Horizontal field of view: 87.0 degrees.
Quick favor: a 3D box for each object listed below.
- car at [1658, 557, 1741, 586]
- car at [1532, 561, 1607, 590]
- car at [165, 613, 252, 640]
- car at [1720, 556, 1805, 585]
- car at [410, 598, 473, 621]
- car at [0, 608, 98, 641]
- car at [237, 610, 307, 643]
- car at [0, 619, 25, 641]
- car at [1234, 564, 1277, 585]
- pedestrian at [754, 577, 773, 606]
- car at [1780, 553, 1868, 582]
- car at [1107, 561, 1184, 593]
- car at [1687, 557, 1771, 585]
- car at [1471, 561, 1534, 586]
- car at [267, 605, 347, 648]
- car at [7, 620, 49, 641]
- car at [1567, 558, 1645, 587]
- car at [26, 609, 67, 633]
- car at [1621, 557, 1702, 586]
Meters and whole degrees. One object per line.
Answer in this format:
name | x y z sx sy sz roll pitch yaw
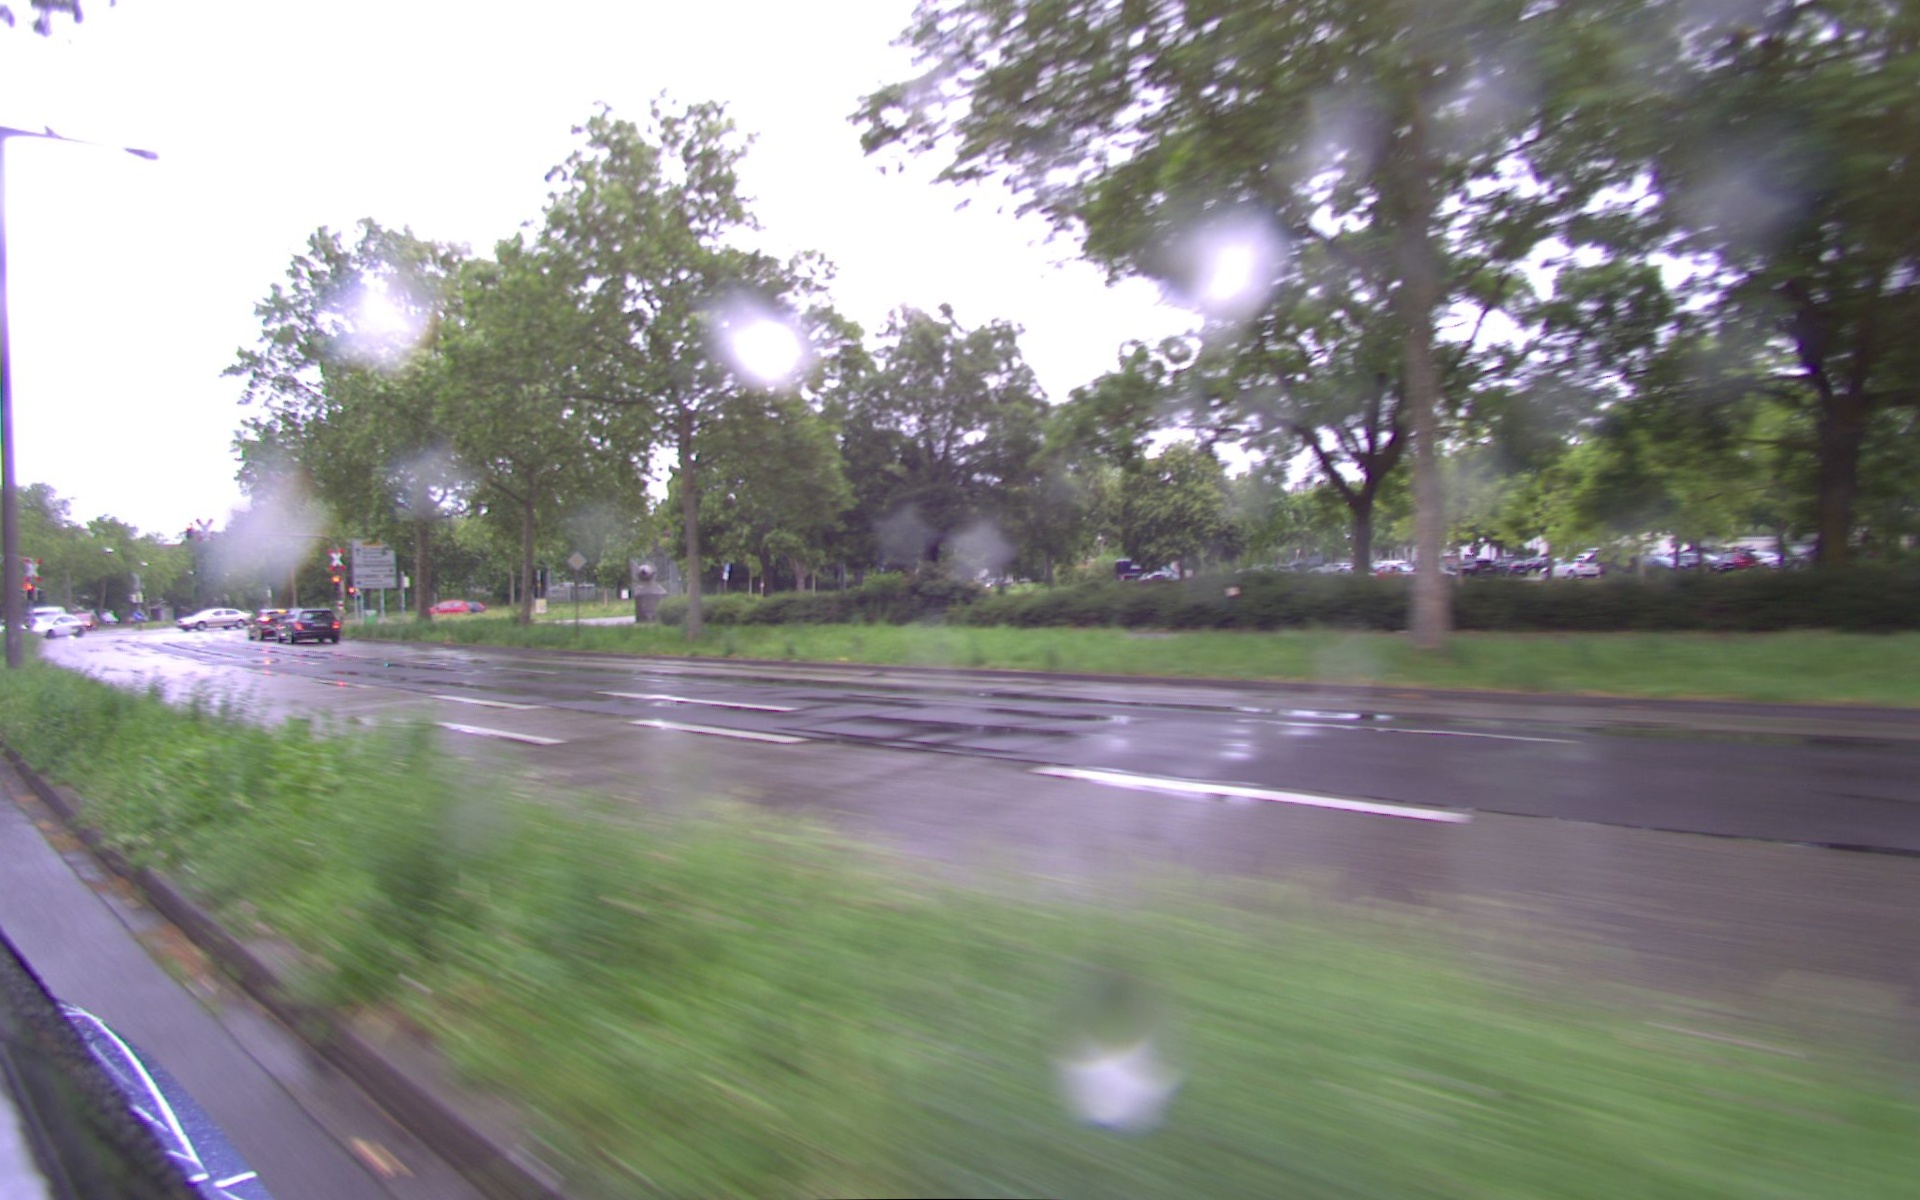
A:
car | 52.754 -2.005 72.287 2.078 1.916 4.509 -2 1 -10
car | 43.304 -1.732 72.016 1.967 1.916 4.511 -2 1 -14
car | -52.472 1.830 70.734 1.989 1.641 4.465 -2 1 25
car | 58.093 -2.090 73.336 1.967 1.916 4.511 -2 1 -14
car | -41.600 0.775 81.253 4.444 1.641 2.007 -3 1 -27
car | -53.087 1.404 59.039 1.969 1.641 4.528 -2 1 -6
car | -32.851 1.237 48.278 1.971 1.384 4.334 -3 1 -44
car | -77.630 2.445 82.263 1.968 1.641 4.530 -3 1 -39
car | 28.851 -2.459 98.992 1.967 1.916 4.511 -2 1 -14
pedestrian | -13.740 -0.589 70.853 0.885 2.028 1.021 -3 1 -39
car | 62.578 -2.351 73.403 1.967 1.916 4.511 -2 1 -14
car | 14.103 -1.729 77.038 5.327 2.190 2.005 -2 1 -12
car | 55.594 -2.059 73.266 1.967 1.916 4.511 -2 1 -14
car | 44.492 -2.152 83.073 1.967 1.916 4.511 -2 1 -14
car | -27.464 1.094 42.515 1.971 1.643 4.334 -3 1 -44
car | -82.058 2.688 89.152 1.966 1.641 4.534 -3 1 -33
car | 45.920 -1.918 72.055 1.967 1.916 4.511 -2 1 -14
car | -85.575 1.931 94.840 1.967 2.123 5.157 -3 1 -33
car | 49.790 -1.974 71.906 1.967 1.916 4.511 -2 1 -14
